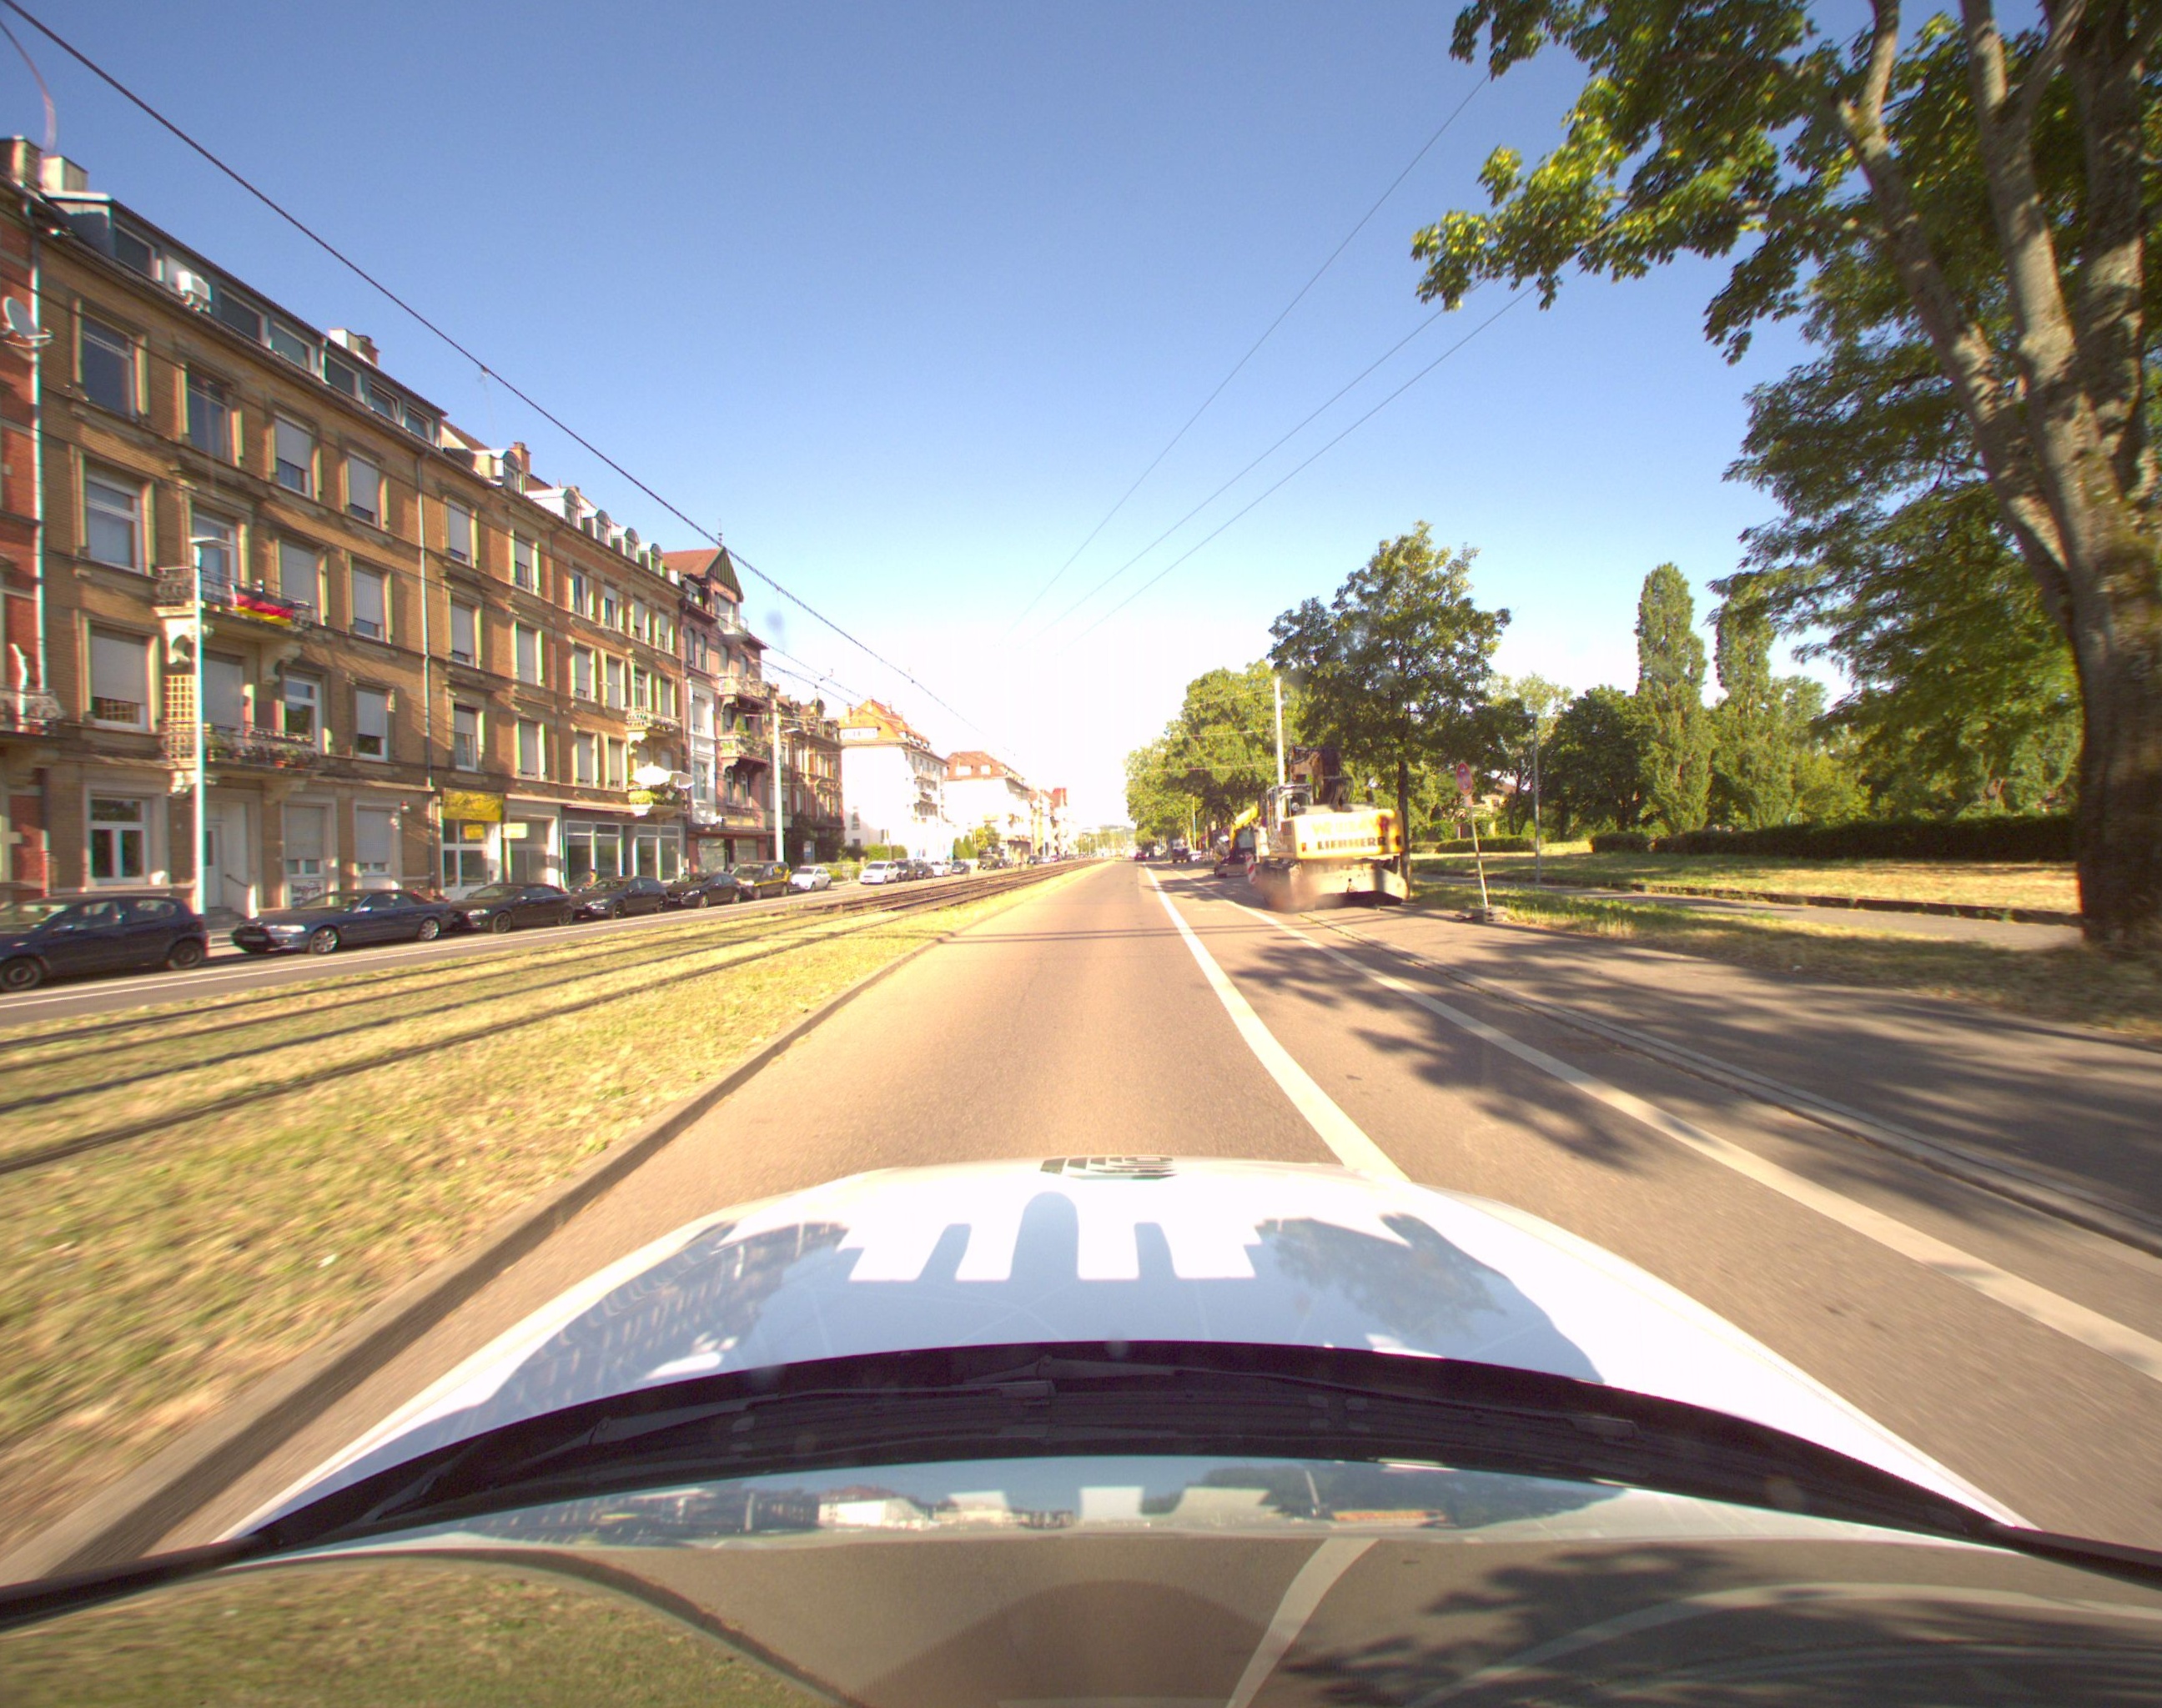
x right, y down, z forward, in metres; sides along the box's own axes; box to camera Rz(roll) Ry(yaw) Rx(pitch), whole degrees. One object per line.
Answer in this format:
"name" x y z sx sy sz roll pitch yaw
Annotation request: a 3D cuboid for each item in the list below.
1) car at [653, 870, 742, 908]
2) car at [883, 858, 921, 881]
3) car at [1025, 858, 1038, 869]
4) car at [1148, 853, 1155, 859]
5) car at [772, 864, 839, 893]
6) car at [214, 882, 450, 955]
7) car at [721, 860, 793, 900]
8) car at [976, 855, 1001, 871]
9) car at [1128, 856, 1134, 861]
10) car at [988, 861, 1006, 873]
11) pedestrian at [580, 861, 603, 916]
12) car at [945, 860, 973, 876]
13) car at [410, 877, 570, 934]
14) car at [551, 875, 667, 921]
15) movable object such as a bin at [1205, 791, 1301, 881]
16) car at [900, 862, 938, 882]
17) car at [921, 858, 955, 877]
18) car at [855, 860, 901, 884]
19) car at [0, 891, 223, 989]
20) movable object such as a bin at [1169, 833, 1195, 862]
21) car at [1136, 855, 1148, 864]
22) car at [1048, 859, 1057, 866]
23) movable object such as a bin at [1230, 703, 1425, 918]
"car" -16.252 1.439 34.722 1.652 1.446 3.985 0 0 4
"car" -14.418 1.244 65.917 1.913 1.780 4.500 0 0 2
"car" -9.063 1.706 148.825 1.855 1.786 4.405 0 0 3
"car" 18.700 0.557 216.380 1.786 1.510 4.003 -1 0 3
"car" -16.070 1.378 47.756 1.911 1.538 4.635 -1 0 6
"car" -17.845 1.465 19.729 1.652 1.446 4.201 0 0 4
"car" -16.102 1.245 40.689 1.654 1.807 4.728 0 0 0
"car" -12.005 1.105 105.907 2.067 2.010 5.601 0 0 6
"car" 15.035 1.261 243.287 1.786 1.510 4.003 0 -1 3
"car" -11.488 1.780 112.130 1.627 1.507 4.165 -1 -1 6
"pedestrian" -18.272 1.261 30.422 0.637 2.014 0.870 0 -1 -26
"car" -12.892 1.454 86.408 1.913 1.461 4.845 3 0 2
"car" -17.406 1.457 24.234 1.652 1.446 3.985 0 0 4
"car" -16.954 1.531 29.484 1.652 1.446 3.985 0 0 4
"movable object such as a bin" 8.652 -0.838 42.059 3.326 3.976 7.602 -5 0 2
"car" -14.051 1.552 70.923 1.911 1.561 4.850 0 0 6
"car" -13.539 1.279 77.519 1.911 1.694 4.850 0 0 6
"car" -15.044 1.281 60.550 1.912 1.683 4.632 0 0 4
"car" -18.235 1.473 14.570 1.652 1.446 3.769 0 0 4
"movable object such as a bin" 12.547 -0.798 101.474 2.731 3.145 7.229 -5 0 5
"car" 10.428 0.935 139.314 1.825 1.391 4.163 -1 0 3
"car" -6.587 1.944 187.041 1.828 1.391 4.034 1 0 -1
"movable object such as a bin" 6.271 -0.979 22.220 2.903 4.610 7.602 -5 0 2
